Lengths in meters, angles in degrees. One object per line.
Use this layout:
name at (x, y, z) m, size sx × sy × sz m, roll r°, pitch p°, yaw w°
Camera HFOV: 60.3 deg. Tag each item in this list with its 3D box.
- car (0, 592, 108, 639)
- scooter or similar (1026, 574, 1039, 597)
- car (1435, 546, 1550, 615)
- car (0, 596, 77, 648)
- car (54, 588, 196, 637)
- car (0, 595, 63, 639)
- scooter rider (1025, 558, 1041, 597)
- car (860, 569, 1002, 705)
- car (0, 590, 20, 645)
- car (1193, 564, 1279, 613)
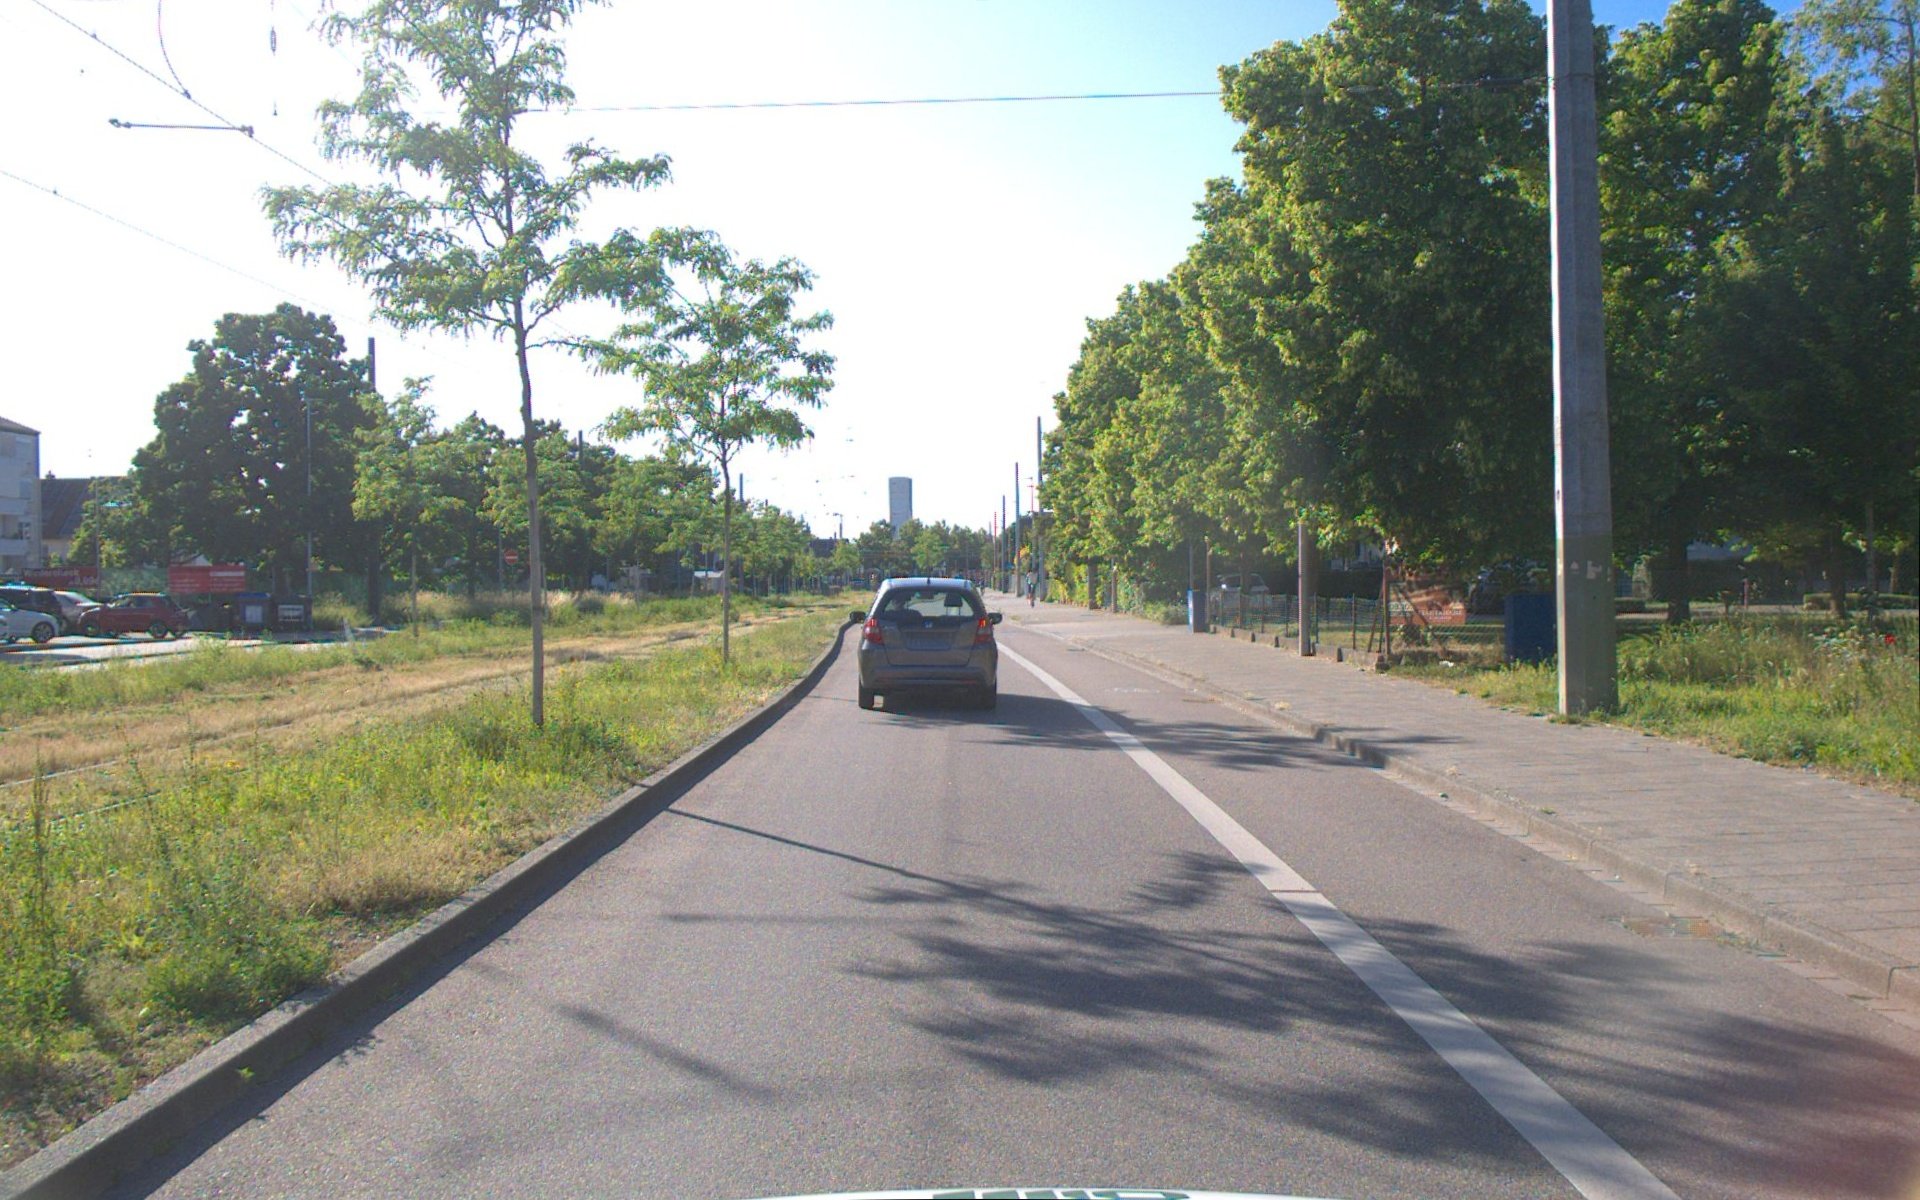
car at (-33.475, 0.564, 60.121) m, size 3.989 × 1.596 × 1.791 m, roll -1°, pitch 1°, yaw -3°
scooter or similar at (3.619, -0.707, 82.706) m, size 0.528 × 1.138 × 1.416 m, roll -1°, pitch 0°, yaw -2°
car at (16.246, -0.588, 50.730) m, size 1.834 × 2.001 × 5.166 m, roll 0°, pitch 0°, yaw -1°
car at (-29.284, 0.675, 49.847) m, size 1.752 × 1.496 × 4.464 m, roll -1°, pitch 1°, yaw 29°
car at (-29.139, 0.431, 57.800) m, size 3.989 × 1.596 × 1.791 m, roll -1°, pitch 1°, yaw -3°
car at (-33.544, 0.606, 57.212) m, size 3.989 × 1.470 × 1.791 m, roll -1°, pitch 1°, yaw -3°
scooter rider at (3.642, -1.115, 82.869) m, size 0.702 × 1.934 × 0.934 m, roll -1°, pitch 0°, yaw -3°
car at (-0.341, 0.391, 20.527) m, size 1.591 × 1.526 × 3.457 m, roll 1°, pitch 1°, yaw 0°
car at (-28.767, 0.554, 45.799) m, size 1.757 × 1.554 × 4.453 m, roll -1°, pitch 1°, yaw 37°
car at (8.458, -0.350, 50.945) m, size 1.739 × 1.411 × 3.867 m, roll -2°, pitch 0°, yaw -4°
